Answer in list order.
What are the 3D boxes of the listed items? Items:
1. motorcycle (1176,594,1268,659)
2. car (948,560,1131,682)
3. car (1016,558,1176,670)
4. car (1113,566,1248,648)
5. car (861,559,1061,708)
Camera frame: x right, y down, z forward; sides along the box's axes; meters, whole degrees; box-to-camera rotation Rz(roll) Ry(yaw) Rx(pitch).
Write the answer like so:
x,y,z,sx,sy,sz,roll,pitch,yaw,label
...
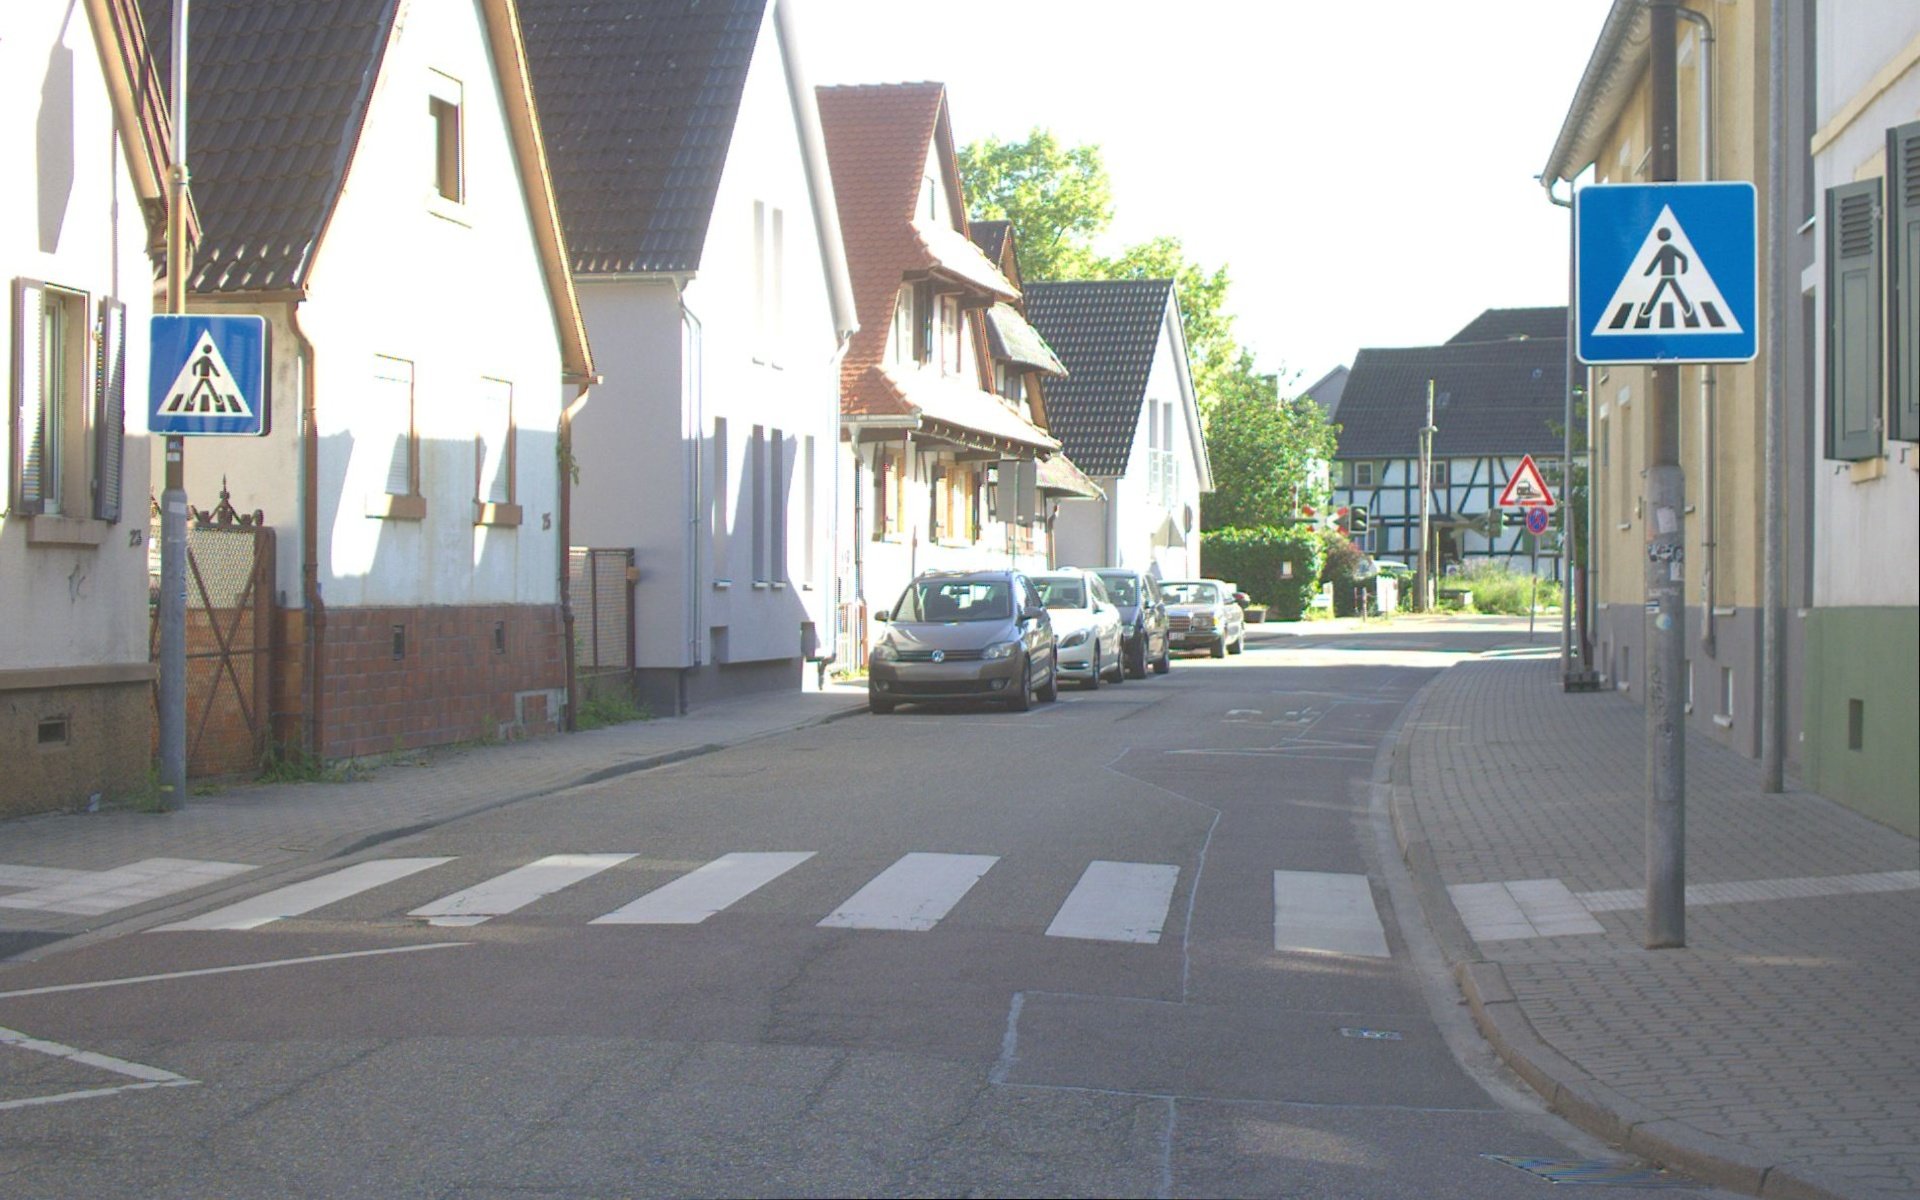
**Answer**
x,y,z,sx,sy,sz,roll,pitch,yaw,label
5.043,0.497,66.248,0.625,1.227,1.994,-1,1,-35,motorcycle
1.115,0.276,46.124,1.817,1.561,4.166,0,0,10,car
2.083,0.198,51.342,1.784,1.599,4.359,0,0,10,car
4.056,0.133,62.469,1.845,1.401,5.034,-1,0,10,car
0.067,0.369,39.197,1.743,1.608,3.999,0,0,8,car
